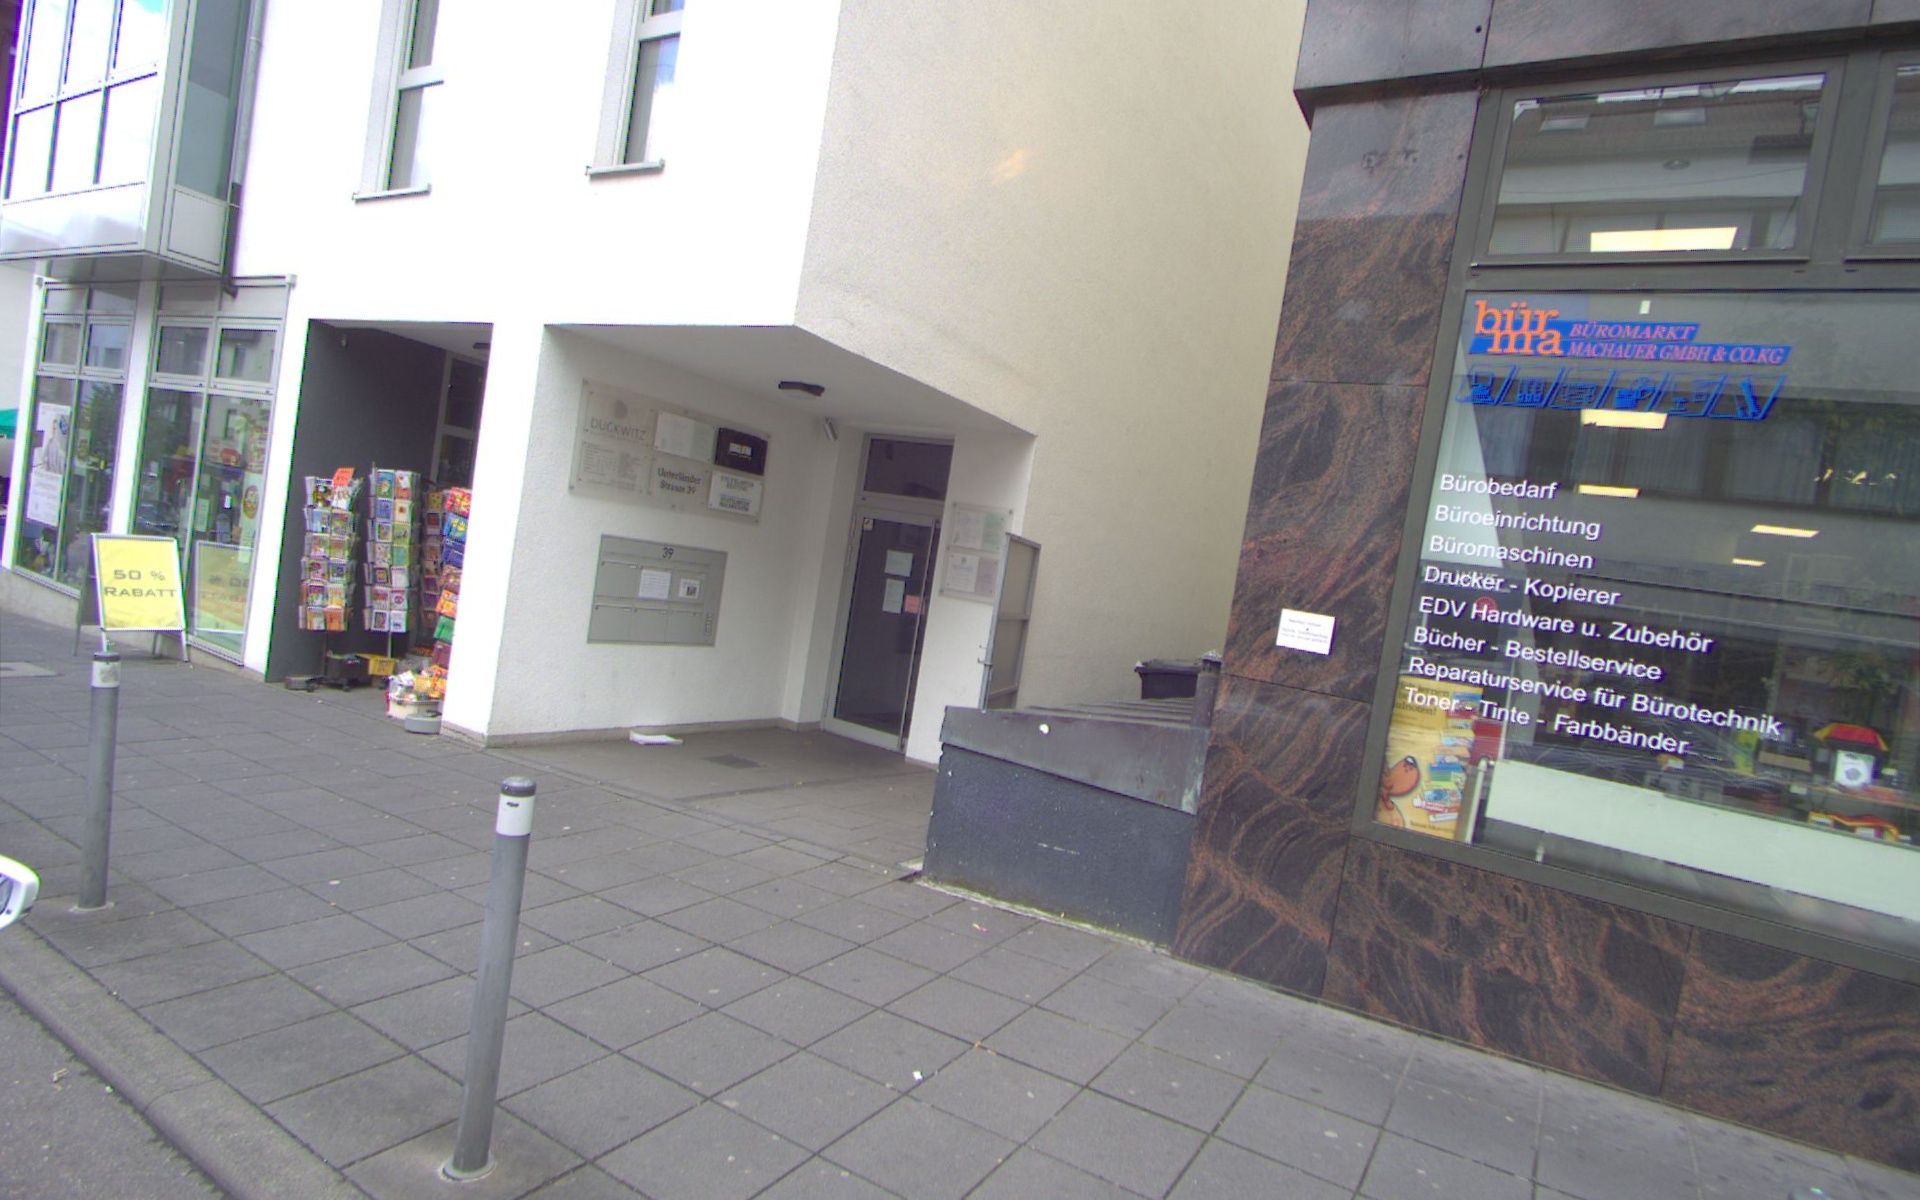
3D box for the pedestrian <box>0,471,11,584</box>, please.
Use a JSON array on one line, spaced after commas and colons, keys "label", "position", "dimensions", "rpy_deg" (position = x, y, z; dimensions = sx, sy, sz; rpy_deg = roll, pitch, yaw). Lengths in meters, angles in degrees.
[{"label": "pedestrian", "position": [-15.035, -1.147, 15.326], "dimensions": [0.556, 1.710, 0.574], "rpy_deg": [7, 1, 26]}]
